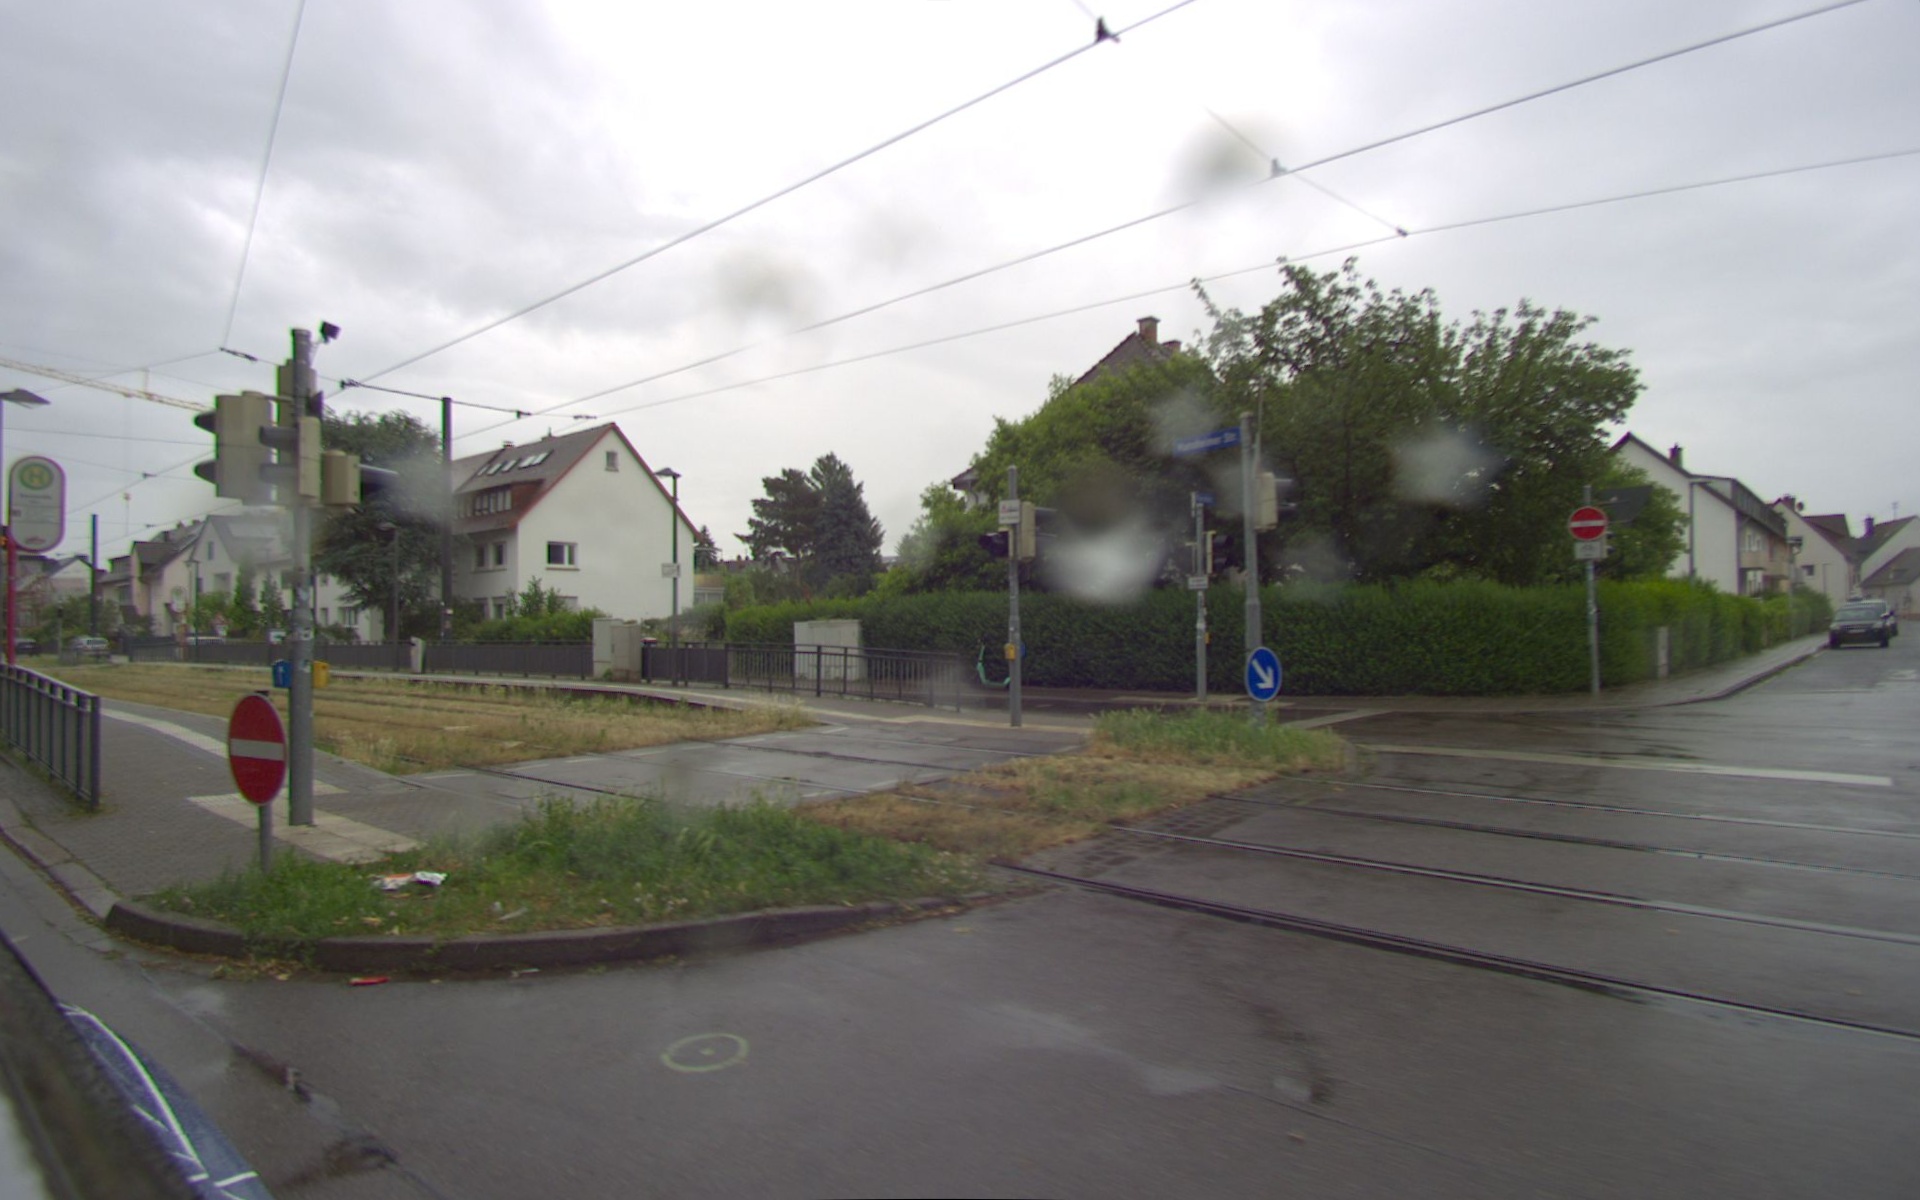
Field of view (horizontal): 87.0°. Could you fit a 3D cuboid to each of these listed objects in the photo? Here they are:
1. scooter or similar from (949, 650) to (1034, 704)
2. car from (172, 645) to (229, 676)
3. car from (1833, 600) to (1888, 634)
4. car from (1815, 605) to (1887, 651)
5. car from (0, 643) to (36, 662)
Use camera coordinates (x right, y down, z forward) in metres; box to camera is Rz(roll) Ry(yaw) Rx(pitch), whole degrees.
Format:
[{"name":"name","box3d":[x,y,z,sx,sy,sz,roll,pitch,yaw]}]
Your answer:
[{"name":"scooter or similar","box3d":[0.682,1.684,22.417,1.866,1.079,0.656,-1,0,41]},{"name":"car","box3d":[-40.326,3.181,53.680,3.998,1.504,1.616,-1,0,41]},{"name":"car","box3d":[47.890,0.891,53.868,1.998,1.664,3.947,-1,0,40]},{"name":"car","box3d":[35.687,1.086,40.614,1.998,1.664,3.947,-1,0,40]},{"name":"car","box3d":[-78.733,4.409,84.351,4.166,1.437,1.820,-3,-1,37]}]
